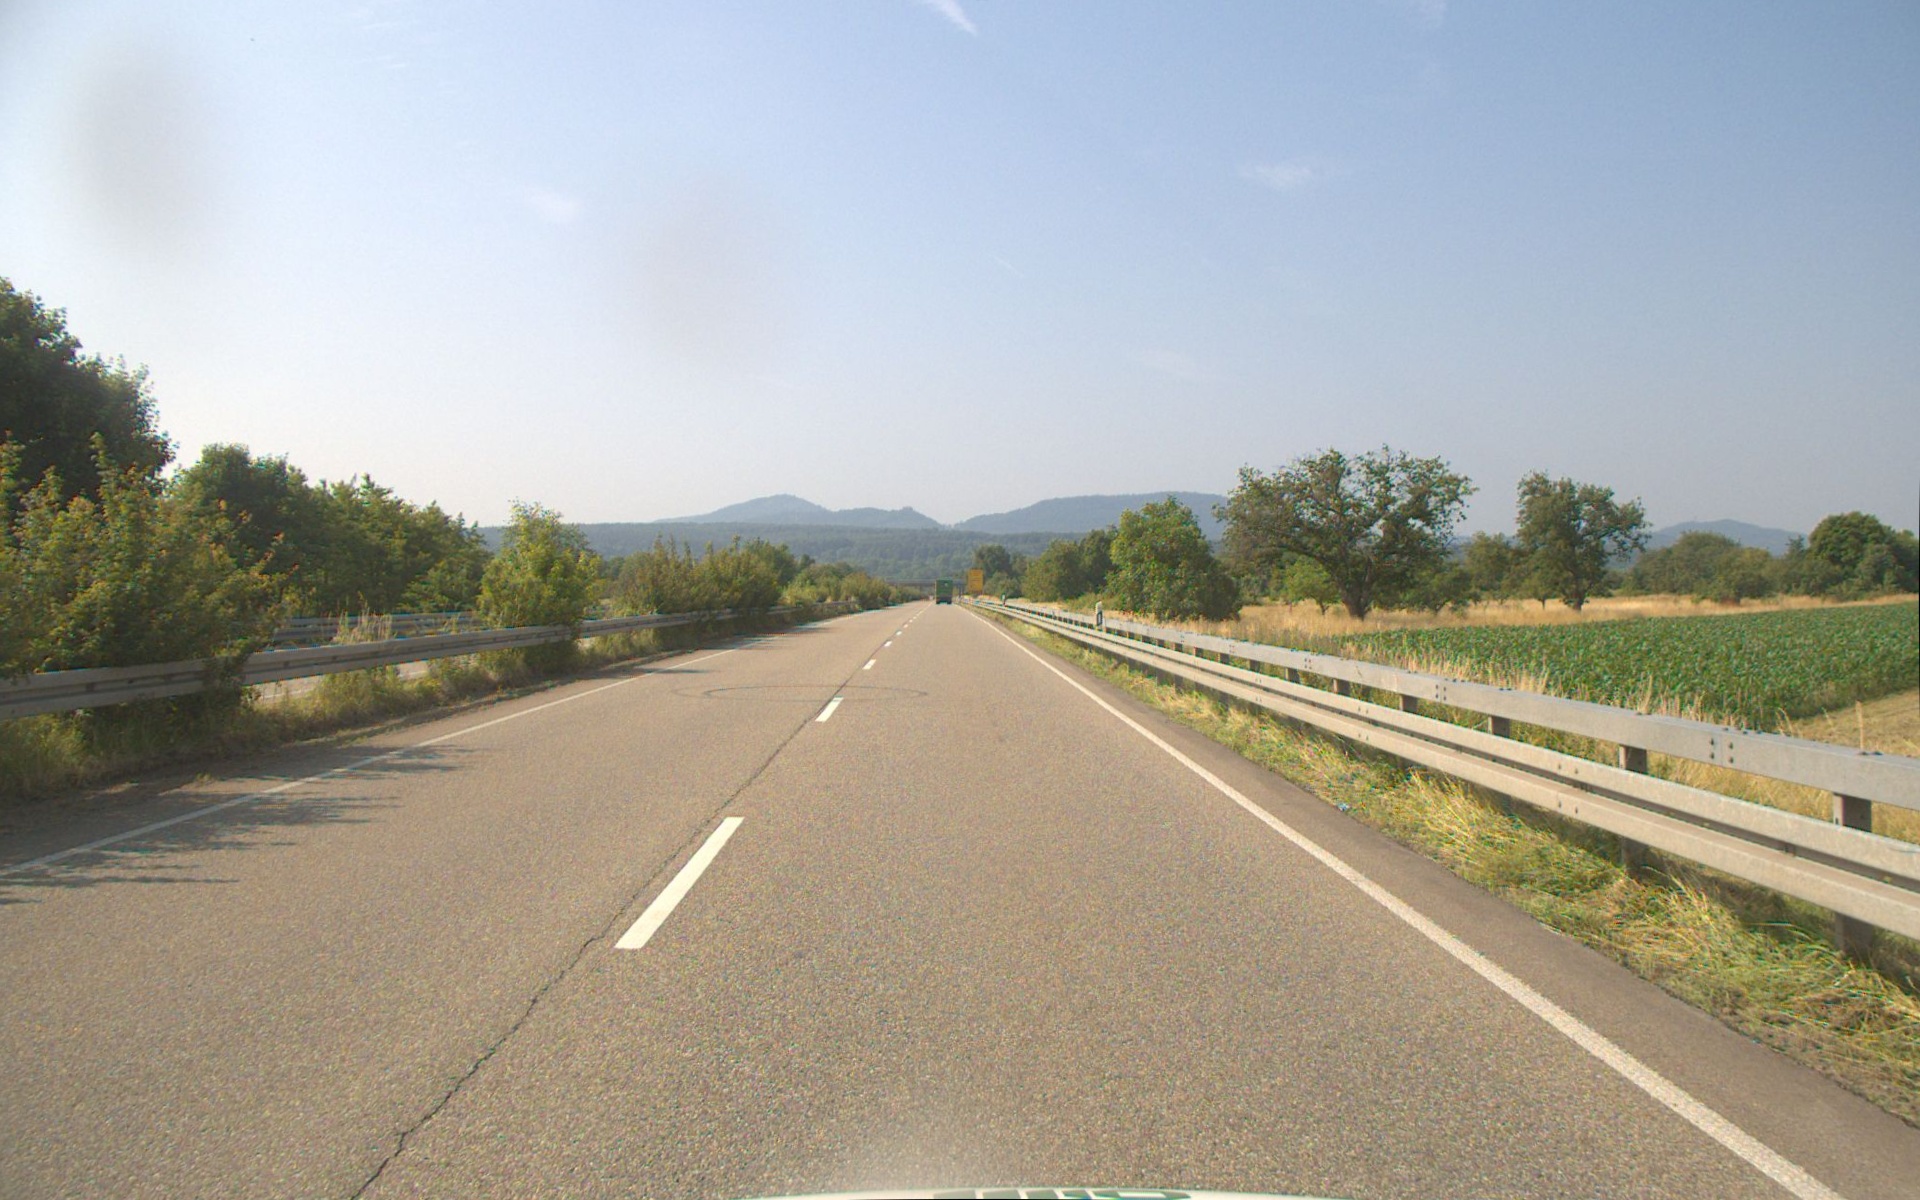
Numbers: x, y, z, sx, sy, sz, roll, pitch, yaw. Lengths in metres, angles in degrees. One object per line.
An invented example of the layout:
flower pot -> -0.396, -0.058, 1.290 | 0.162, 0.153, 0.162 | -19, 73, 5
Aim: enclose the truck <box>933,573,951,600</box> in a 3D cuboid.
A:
truck -> -2.764, -2.082, 256.608 | 2.666, 4.034, 10.415 | 1, 1, 0
